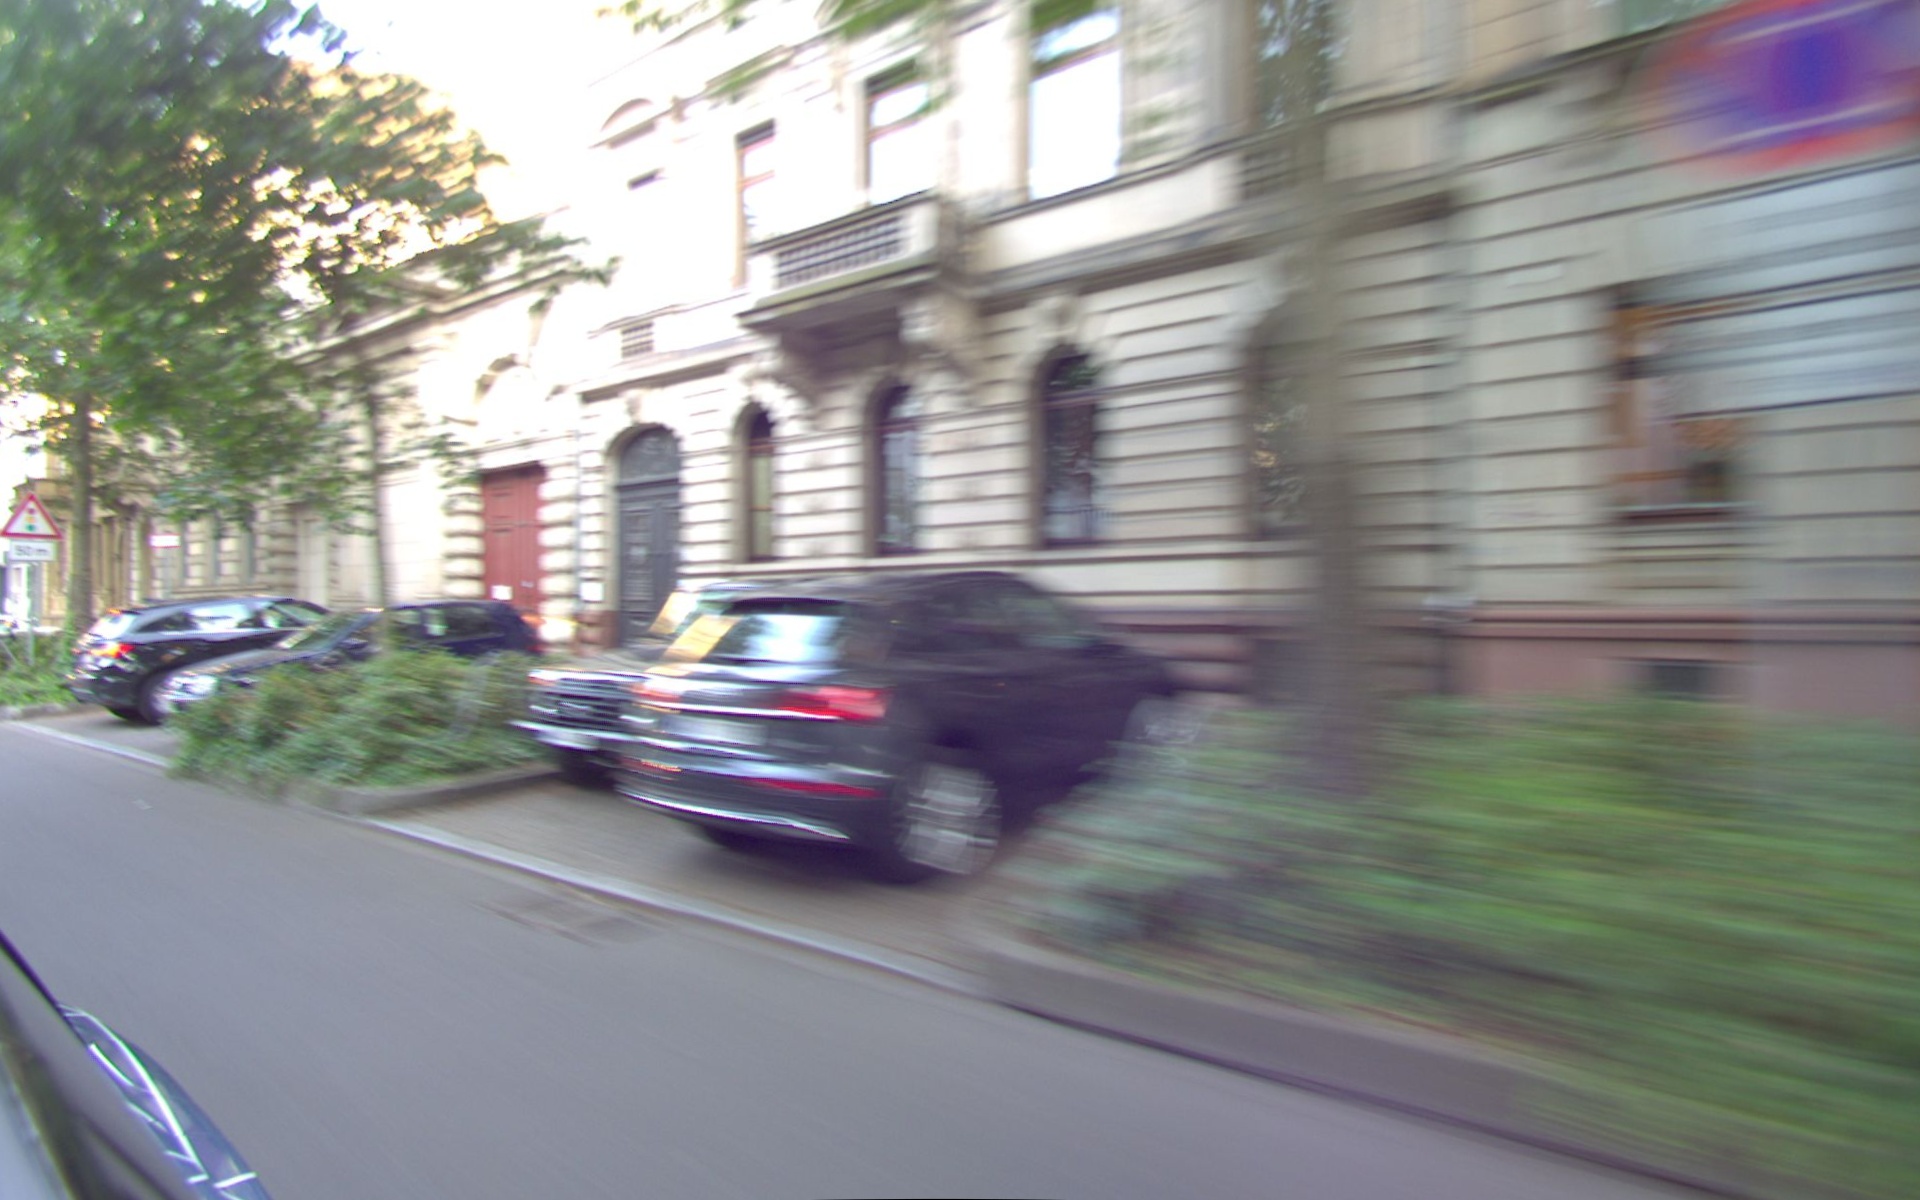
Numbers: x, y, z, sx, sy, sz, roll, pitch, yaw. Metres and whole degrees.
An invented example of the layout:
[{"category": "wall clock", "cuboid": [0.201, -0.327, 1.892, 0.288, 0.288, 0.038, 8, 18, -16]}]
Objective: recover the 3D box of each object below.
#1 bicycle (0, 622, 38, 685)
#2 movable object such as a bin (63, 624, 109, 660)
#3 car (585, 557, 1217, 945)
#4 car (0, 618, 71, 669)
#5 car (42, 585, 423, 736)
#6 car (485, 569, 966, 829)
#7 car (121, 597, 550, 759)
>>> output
[{"category": "bicycle", "cuboid": [-19.723, 1.092, 20.309, 0.500, 1.241, 1.752, 0, 0, 41]}, {"category": "movable object such as a bin", "cuboid": [-27.654, 1.312, 32.026, 1.314, 1.069, 0.793, -1, 1, 36]}, {"category": "car", "cuboid": [-0.043, 0.635, 6.654, 1.904, 1.684, 4.163, -2, 0, 36]}, {"category": "car", "cuboid": [-27.772, 1.235, 28.020, 1.913, 1.401, 4.471, -1, 0, 37]}, {"category": "car", "cuboid": [-10.019, 0.717, 14.223, 1.777, 1.608, 3.930, -1, 3, 36]}, {"category": "car", "cuboid": [-1.740, 0.620, 8.585, 1.710, 1.684, 3.768, -2, 0, 35]}, {"category": "car", "cuboid": [-7.208, 0.783, 12.030, 1.762, 1.397, 3.929, -2, 2, 37]}]
